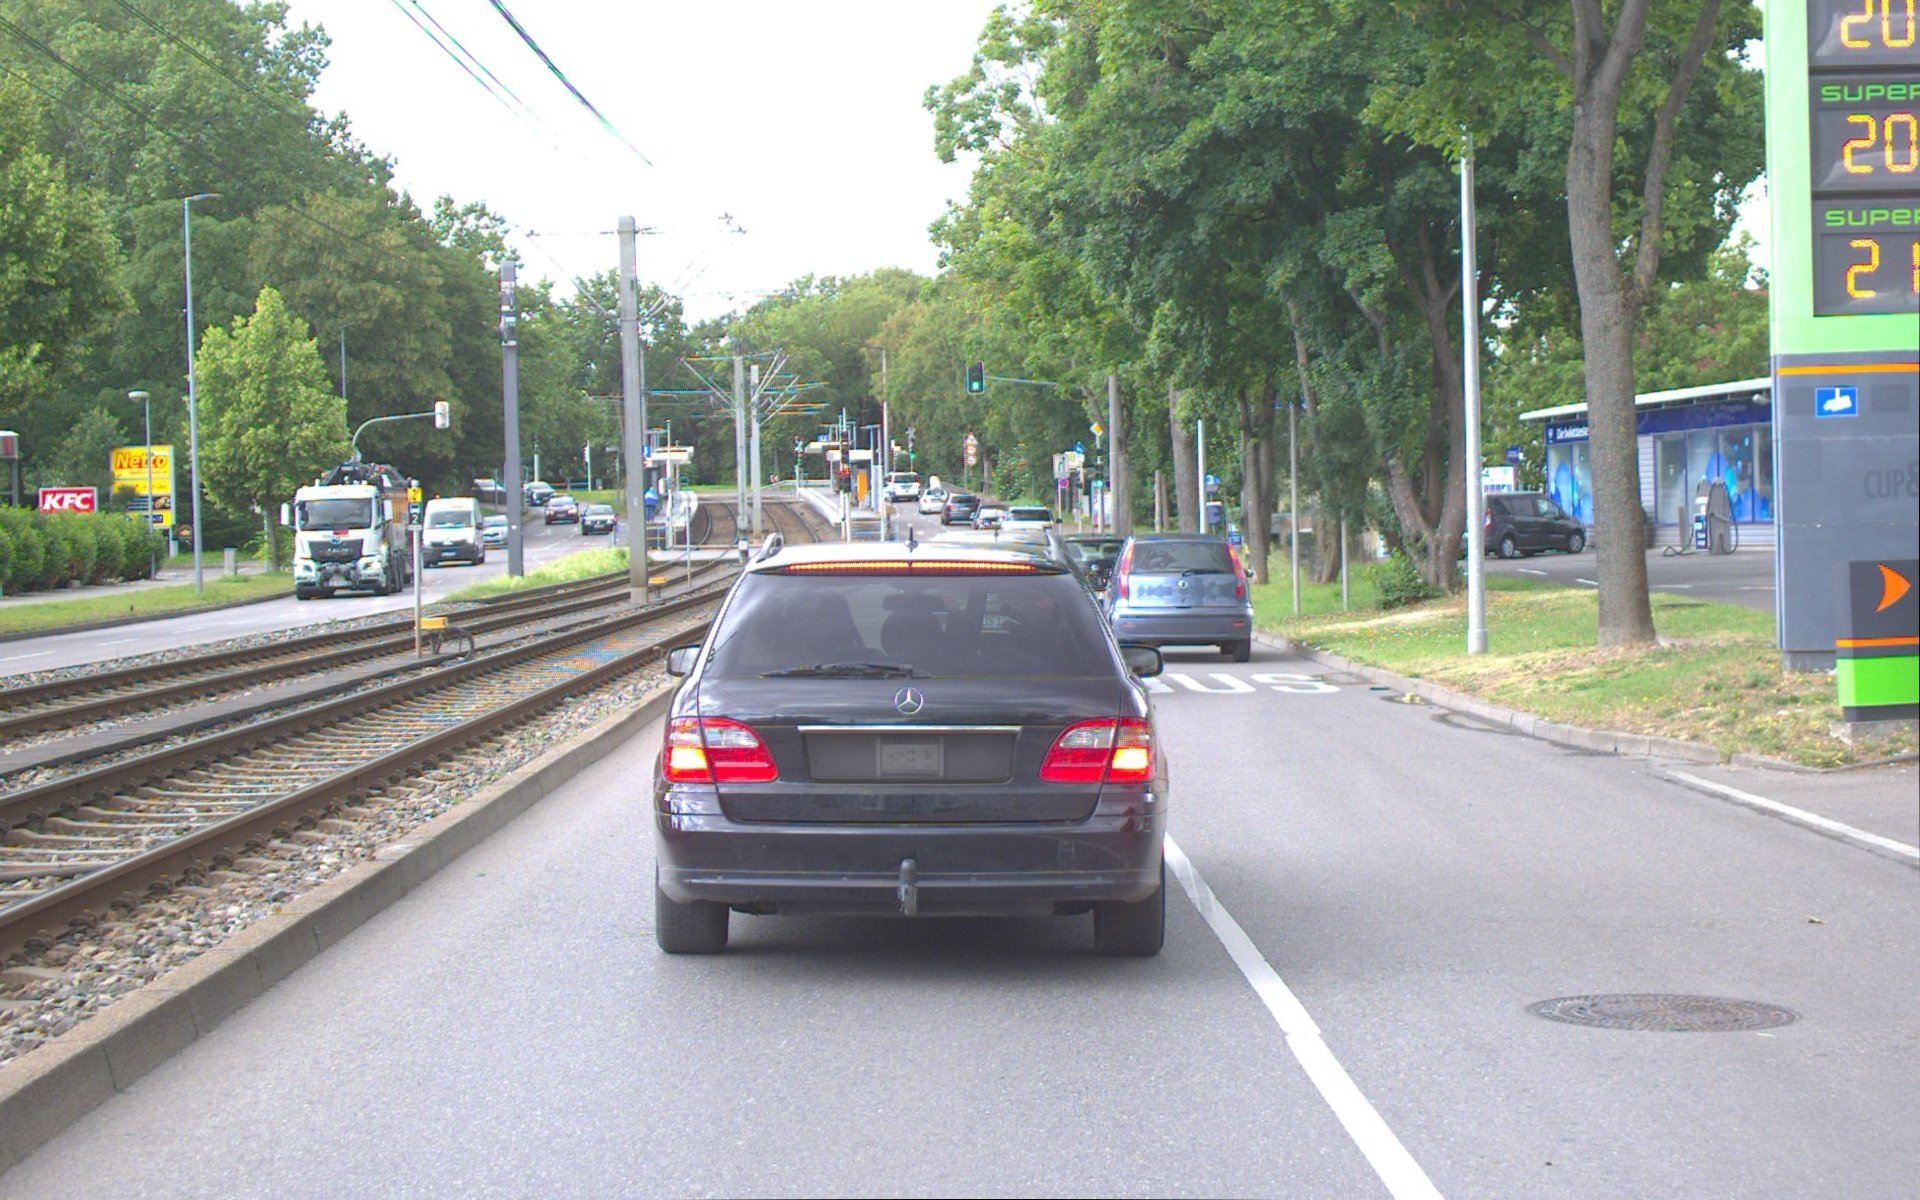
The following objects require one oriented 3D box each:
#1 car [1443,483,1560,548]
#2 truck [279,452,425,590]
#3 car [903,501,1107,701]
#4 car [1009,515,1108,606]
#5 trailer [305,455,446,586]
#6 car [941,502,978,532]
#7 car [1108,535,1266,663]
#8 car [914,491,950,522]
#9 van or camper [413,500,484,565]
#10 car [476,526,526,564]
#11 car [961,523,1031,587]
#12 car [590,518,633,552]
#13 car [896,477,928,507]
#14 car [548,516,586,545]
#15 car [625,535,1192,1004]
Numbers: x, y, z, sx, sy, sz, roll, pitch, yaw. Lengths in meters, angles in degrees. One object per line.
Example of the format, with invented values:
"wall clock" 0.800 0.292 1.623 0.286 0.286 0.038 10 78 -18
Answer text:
"car" 14.862 -2.339 94.228 2.008 1.677 4.574 -1 2 24
"truck" -17.214 -2.253 97.993 2.706 3.651 11.114 -2 1 -3
"car" 0.383 -0.019 32.261 1.780 1.744 3.718 1 1 -1
"car" 1.573 -0.644 55.816 1.466 1.410 3.354 1 1 -1
"trailer" -17.591 -2.401 104.243 2.704 3.648 13.301 -2 1 -3
"car" -0.041 -4.243 176.285 1.666 1.527 3.771 0 1 -4
"car" 2.607 -0.035 40.103 1.571 1.410 3.354 1 1 -1
"car" -1.599 -5.372 198.013 1.993 1.708 4.000 -1 1 0
"van or camper" -19.187 -2.554 129.155 1.993 2.346 5.767 -2 1 -2
"car" -20.519 -2.459 153.728 1.765 1.641 3.771 0 1 0
"car" 1.064 -1.350 102.511 1.993 1.831 4.000 0 1 -1
"car" -17.474 -3.258 172.416 1.765 1.641 3.771 0 1 0
"car" -3.080 -6.937 220.670 1.993 1.831 4.000 0 1 -1
"car" -22.818 -4.049 199.568 1.765 1.641 3.771 0 1 0
"car" -0.180 0.507 12.911 1.808 1.469 3.881 0 1 0
